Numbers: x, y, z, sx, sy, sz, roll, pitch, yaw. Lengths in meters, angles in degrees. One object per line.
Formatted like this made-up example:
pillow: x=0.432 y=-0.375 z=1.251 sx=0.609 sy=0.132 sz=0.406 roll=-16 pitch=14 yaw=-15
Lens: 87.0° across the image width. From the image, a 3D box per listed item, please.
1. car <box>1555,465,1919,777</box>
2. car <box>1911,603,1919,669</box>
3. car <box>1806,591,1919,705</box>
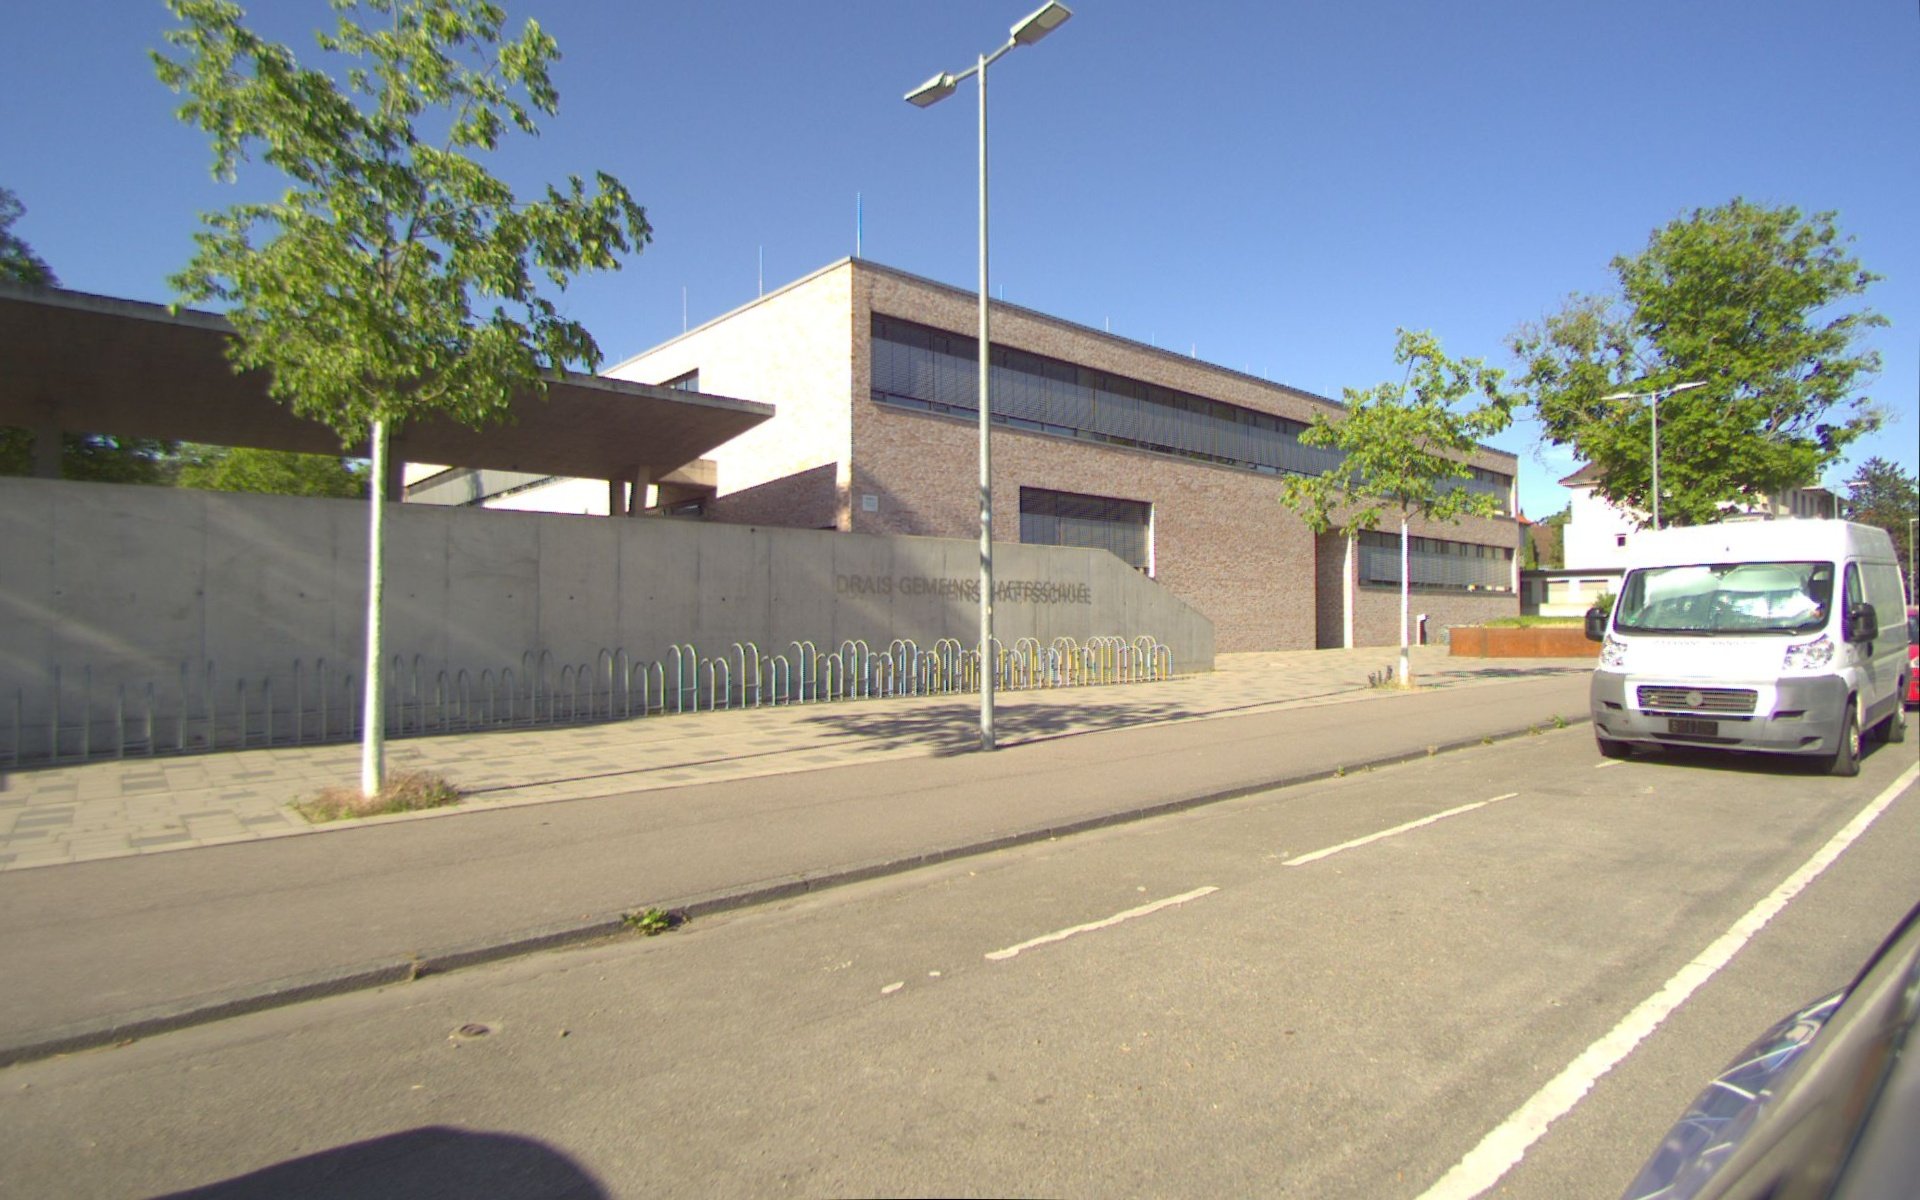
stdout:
car: x=8.754 y=0.194 z=11.080 sx=5.337 sy=2.607 sz=2.244 roll=0 pitch=-1 yaw=-41
car: x=23.727 y=0.812 z=23.686 sx=4.100 sy=1.497 sz=1.704 roll=0 pitch=-1 yaw=-41
car: x=14.615 y=0.701 z=15.893 sx=3.531 sy=1.609 sz=1.621 roll=1 pitch=-1 yaw=-43
